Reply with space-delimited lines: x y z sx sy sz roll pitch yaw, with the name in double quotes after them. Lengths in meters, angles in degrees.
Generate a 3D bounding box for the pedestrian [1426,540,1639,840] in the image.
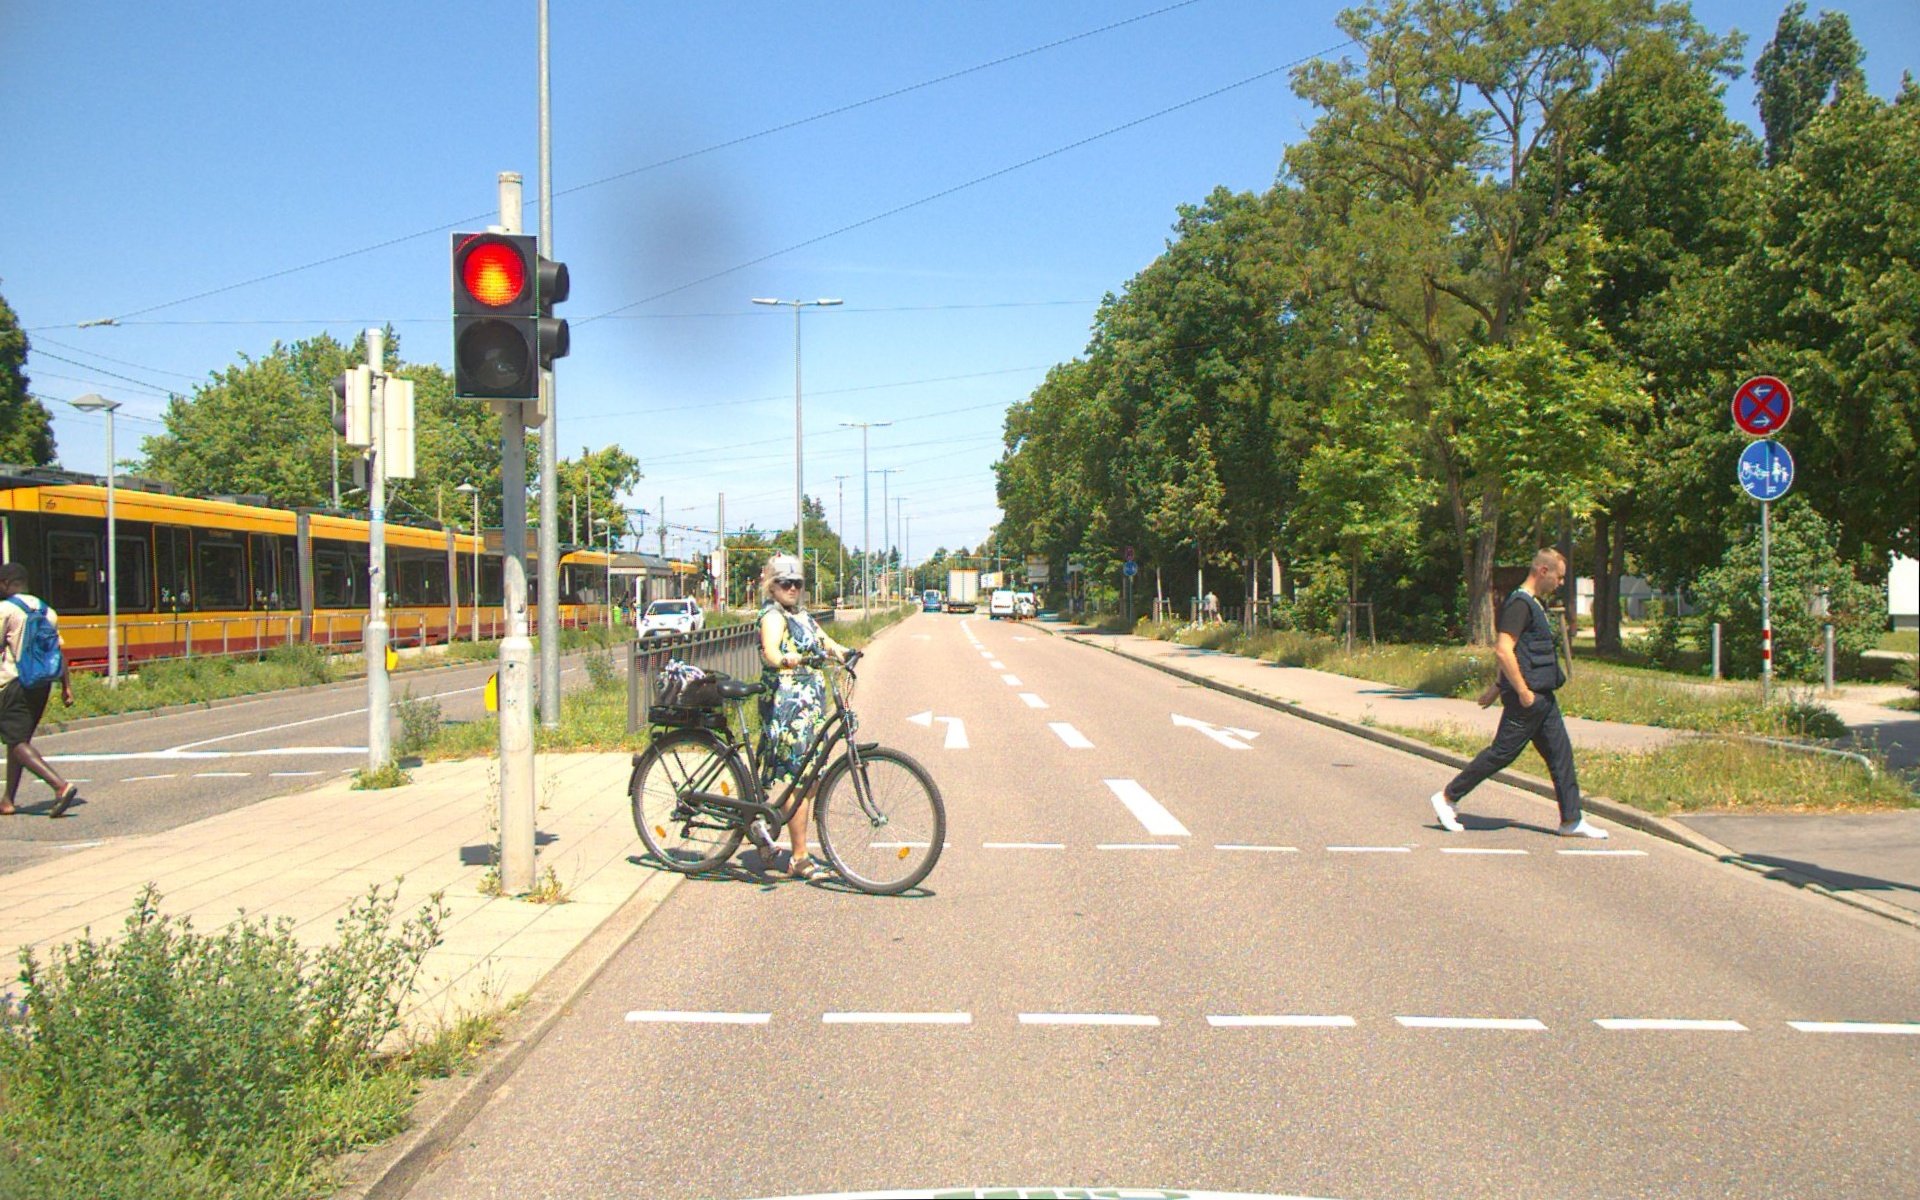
3.694 0.553 10.653 1.162 1.809 0.838 0 -2 30 "pedestrian"

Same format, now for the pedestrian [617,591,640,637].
-13.847 0.593 69.084 0.769 1.901 0.817 0 0 -1 "pedestrian"

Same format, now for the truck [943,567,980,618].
0.077 -0.646 146.124 3.140 4.435 6.559 0 0 -1 "truck"

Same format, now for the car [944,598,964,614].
-0.584 0.558 153.602 1.774 1.490 3.999 0 0 -1 "car"

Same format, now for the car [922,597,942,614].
-2.627 0.507 155.235 1.774 1.490 3.999 0 0 -1 "car"

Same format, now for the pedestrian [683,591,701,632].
-13.739 0.590 84.732 0.798 2.049 0.938 0 0 -1 "pedestrian"

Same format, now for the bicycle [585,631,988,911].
-0.876 0.815 8.290 1.916 1.181 0.541 3 2 17 "bicycle"

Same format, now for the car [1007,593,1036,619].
4.187 0.395 112.505 1.743 1.698 3.999 0 0 -1 "car"

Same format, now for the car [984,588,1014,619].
2.449 0.218 105.496 1.743 1.937 3.999 0 0 -1 "car"

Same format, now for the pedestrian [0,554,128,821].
-6.602 0.607 11.806 0.823 1.808 0.720 -4 2 -1 "pedestrian"

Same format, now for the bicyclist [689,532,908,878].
-0.842 0.513 8.680 0.937 1.695 0.581 3 2 17 "bicyclist"

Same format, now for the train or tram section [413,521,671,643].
-16.211 -0.644 69.291 2.871 3.856 33.081 0 0 -1 "train or tram section"

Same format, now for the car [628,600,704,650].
-9.409 0.787 53.190 1.807 1.521 3.790 0 0 -1 "car"

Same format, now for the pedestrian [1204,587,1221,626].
9.366 0.235 61.386 0.591 1.463 0.556 0 0 6 "pedestrian"

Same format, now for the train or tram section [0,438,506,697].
-15.755 -0.528 37.812 2.897 3.815 30.027 0 0 -1 "train or tram section"

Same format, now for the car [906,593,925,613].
-4.690 0.327 175.091 1.953 2.049 3.999 0 0 -1 "car"

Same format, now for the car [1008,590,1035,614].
4.411 0.115 118.856 1.743 1.698 3.999 0 0 -1 "car"
